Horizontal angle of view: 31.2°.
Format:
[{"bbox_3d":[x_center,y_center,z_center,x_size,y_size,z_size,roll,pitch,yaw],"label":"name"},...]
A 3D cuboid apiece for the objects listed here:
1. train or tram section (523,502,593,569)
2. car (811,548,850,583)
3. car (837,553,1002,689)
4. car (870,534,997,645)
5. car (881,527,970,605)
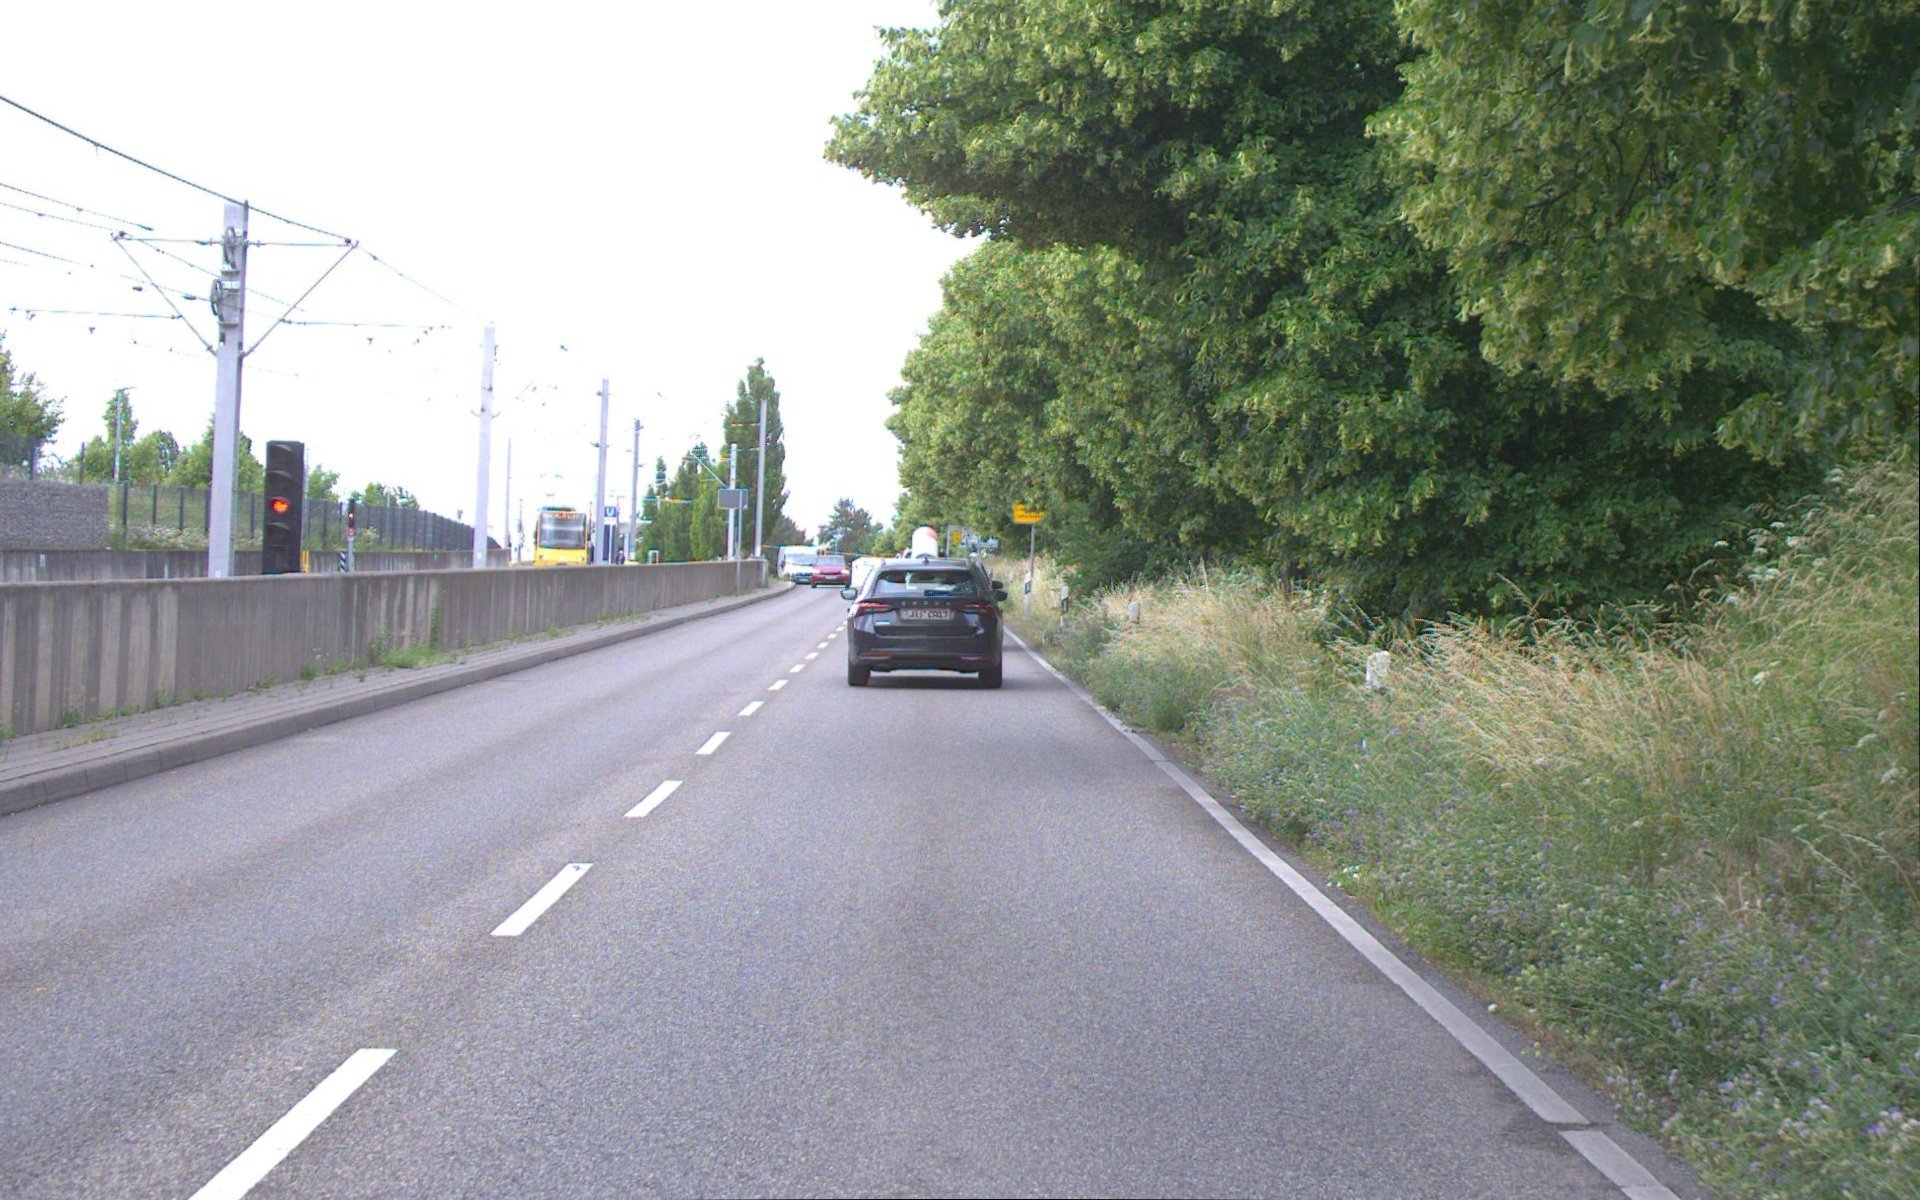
[{"bbox_3d":[-20.890,-3.244,177.916,2.811,3.106,18.920,1,0,-9],"label":"train or tram section"},{"bbox_3d":[-5.747,-1.540,152.582,1.662,1.540,3.953,0,1,-1],"label":"car"},{"bbox_3d":[-0.464,0.211,39.776,1.781,1.463,4.000,1,1,-1],"label":"car"},{"bbox_3d":[-0.444,-0.201,57.051,1.993,1.747,4.000,1,1,-1],"label":"car"},{"bbox_3d":[-0.792,-0.758,79.071,1.993,1.734,4.000,1,0,-1],"label":"car"}]
